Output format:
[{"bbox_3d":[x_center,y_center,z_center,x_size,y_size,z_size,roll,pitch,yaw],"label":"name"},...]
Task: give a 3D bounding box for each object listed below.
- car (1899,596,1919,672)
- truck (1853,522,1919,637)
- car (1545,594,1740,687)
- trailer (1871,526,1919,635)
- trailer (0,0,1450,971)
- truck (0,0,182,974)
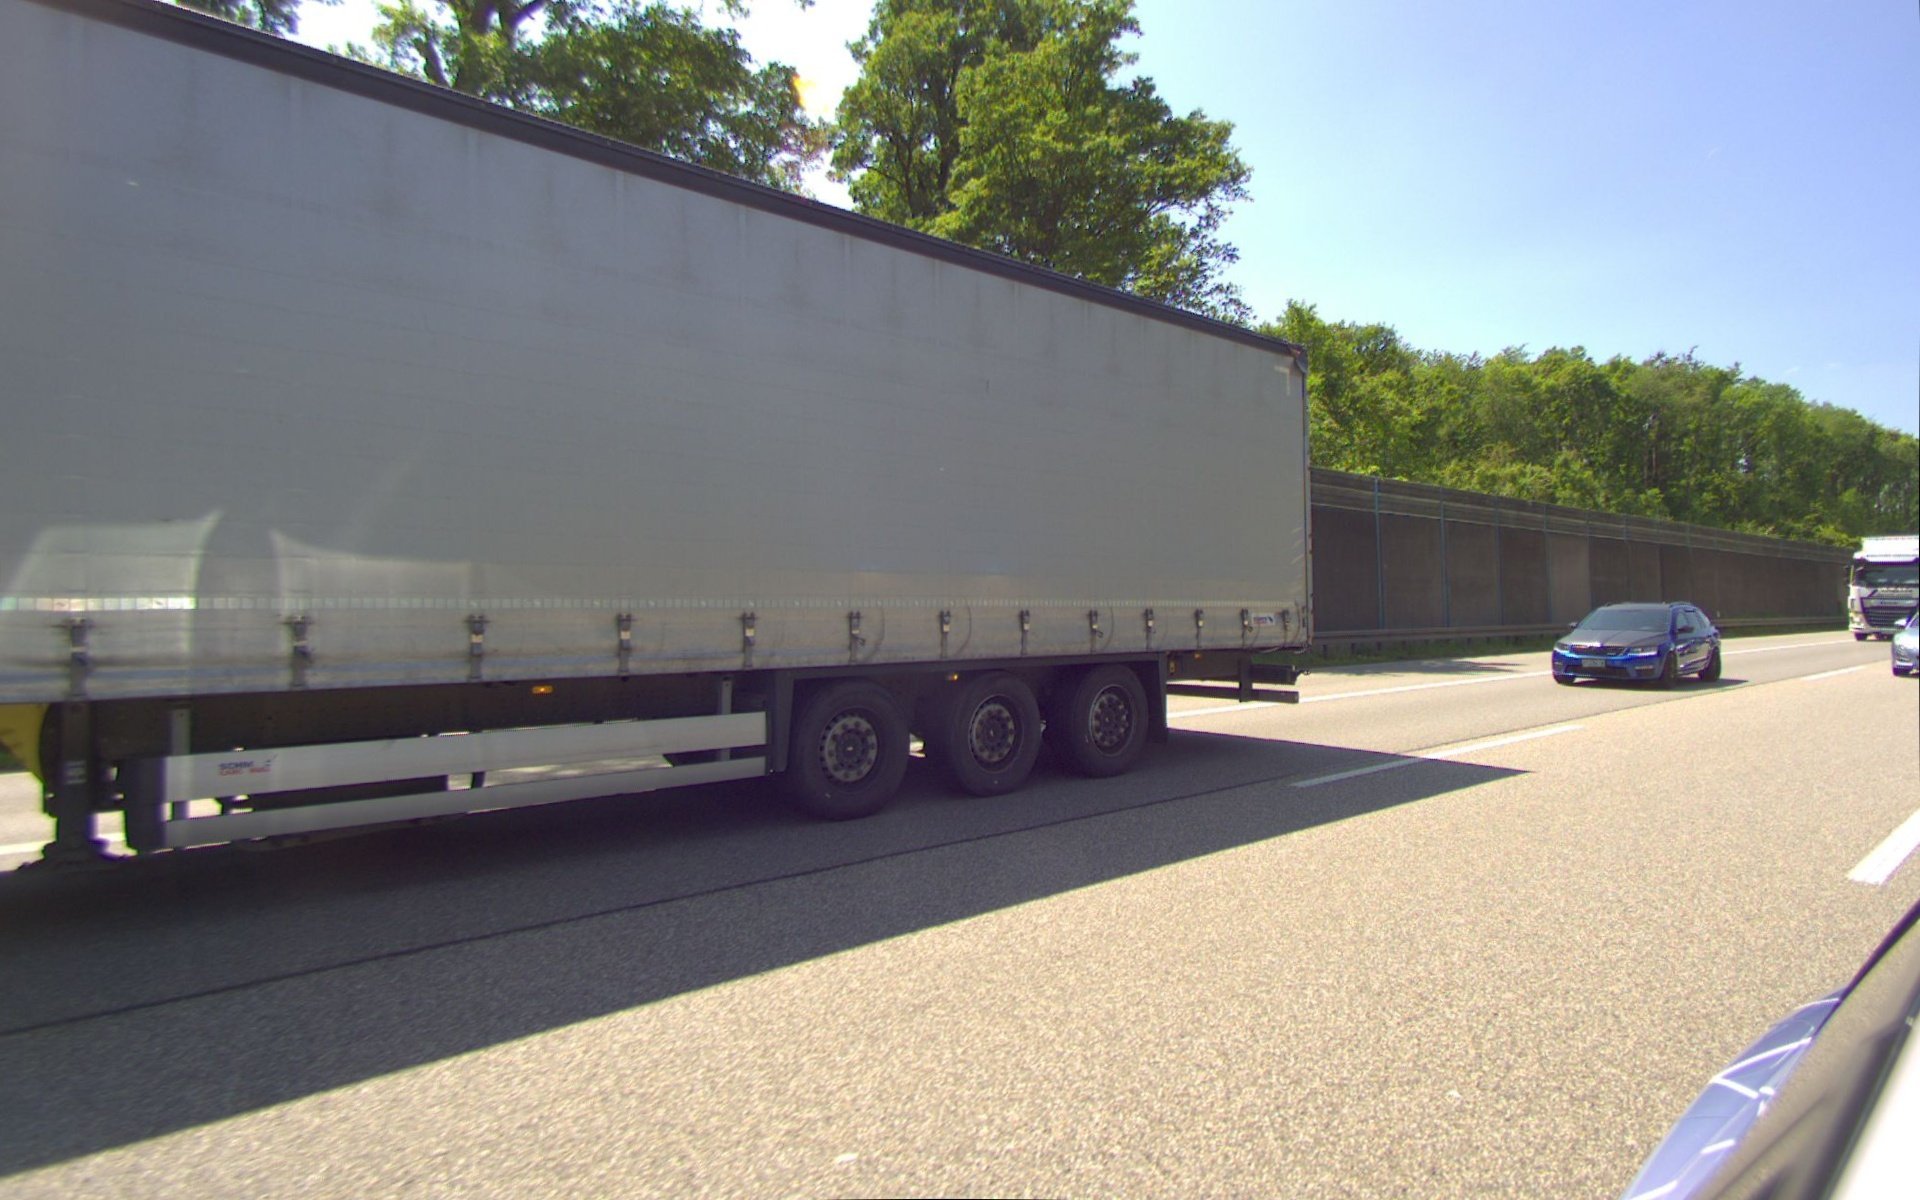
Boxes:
[{"bbox_3d":[20.353,0.647,20.168,4.102,1.452,1.859,0,-1,-40],"label":"car"},{"bbox_3d":[37.374,-0.761,39.470,5.321,4.269,2.812,0,-1,-38],"label":"truck"},{"bbox_3d":[12.498,0.660,18.457,4.102,1.512,1.859,0,-1,-40],"label":"car"},{"bbox_3d":[42.834,-0.771,43.718,13.217,4.269,2.821,0,-1,-38],"label":"trailer"},{"bbox_3d":[-0.112,-0.703,8.695,13.352,4.142,2.603,-1,0,-40],"label":"trailer"},{"bbox_3d":[-6.188,-0.606,3.479,5.455,4.142,2.602,-1,0,-41],"label":"truck"}]
